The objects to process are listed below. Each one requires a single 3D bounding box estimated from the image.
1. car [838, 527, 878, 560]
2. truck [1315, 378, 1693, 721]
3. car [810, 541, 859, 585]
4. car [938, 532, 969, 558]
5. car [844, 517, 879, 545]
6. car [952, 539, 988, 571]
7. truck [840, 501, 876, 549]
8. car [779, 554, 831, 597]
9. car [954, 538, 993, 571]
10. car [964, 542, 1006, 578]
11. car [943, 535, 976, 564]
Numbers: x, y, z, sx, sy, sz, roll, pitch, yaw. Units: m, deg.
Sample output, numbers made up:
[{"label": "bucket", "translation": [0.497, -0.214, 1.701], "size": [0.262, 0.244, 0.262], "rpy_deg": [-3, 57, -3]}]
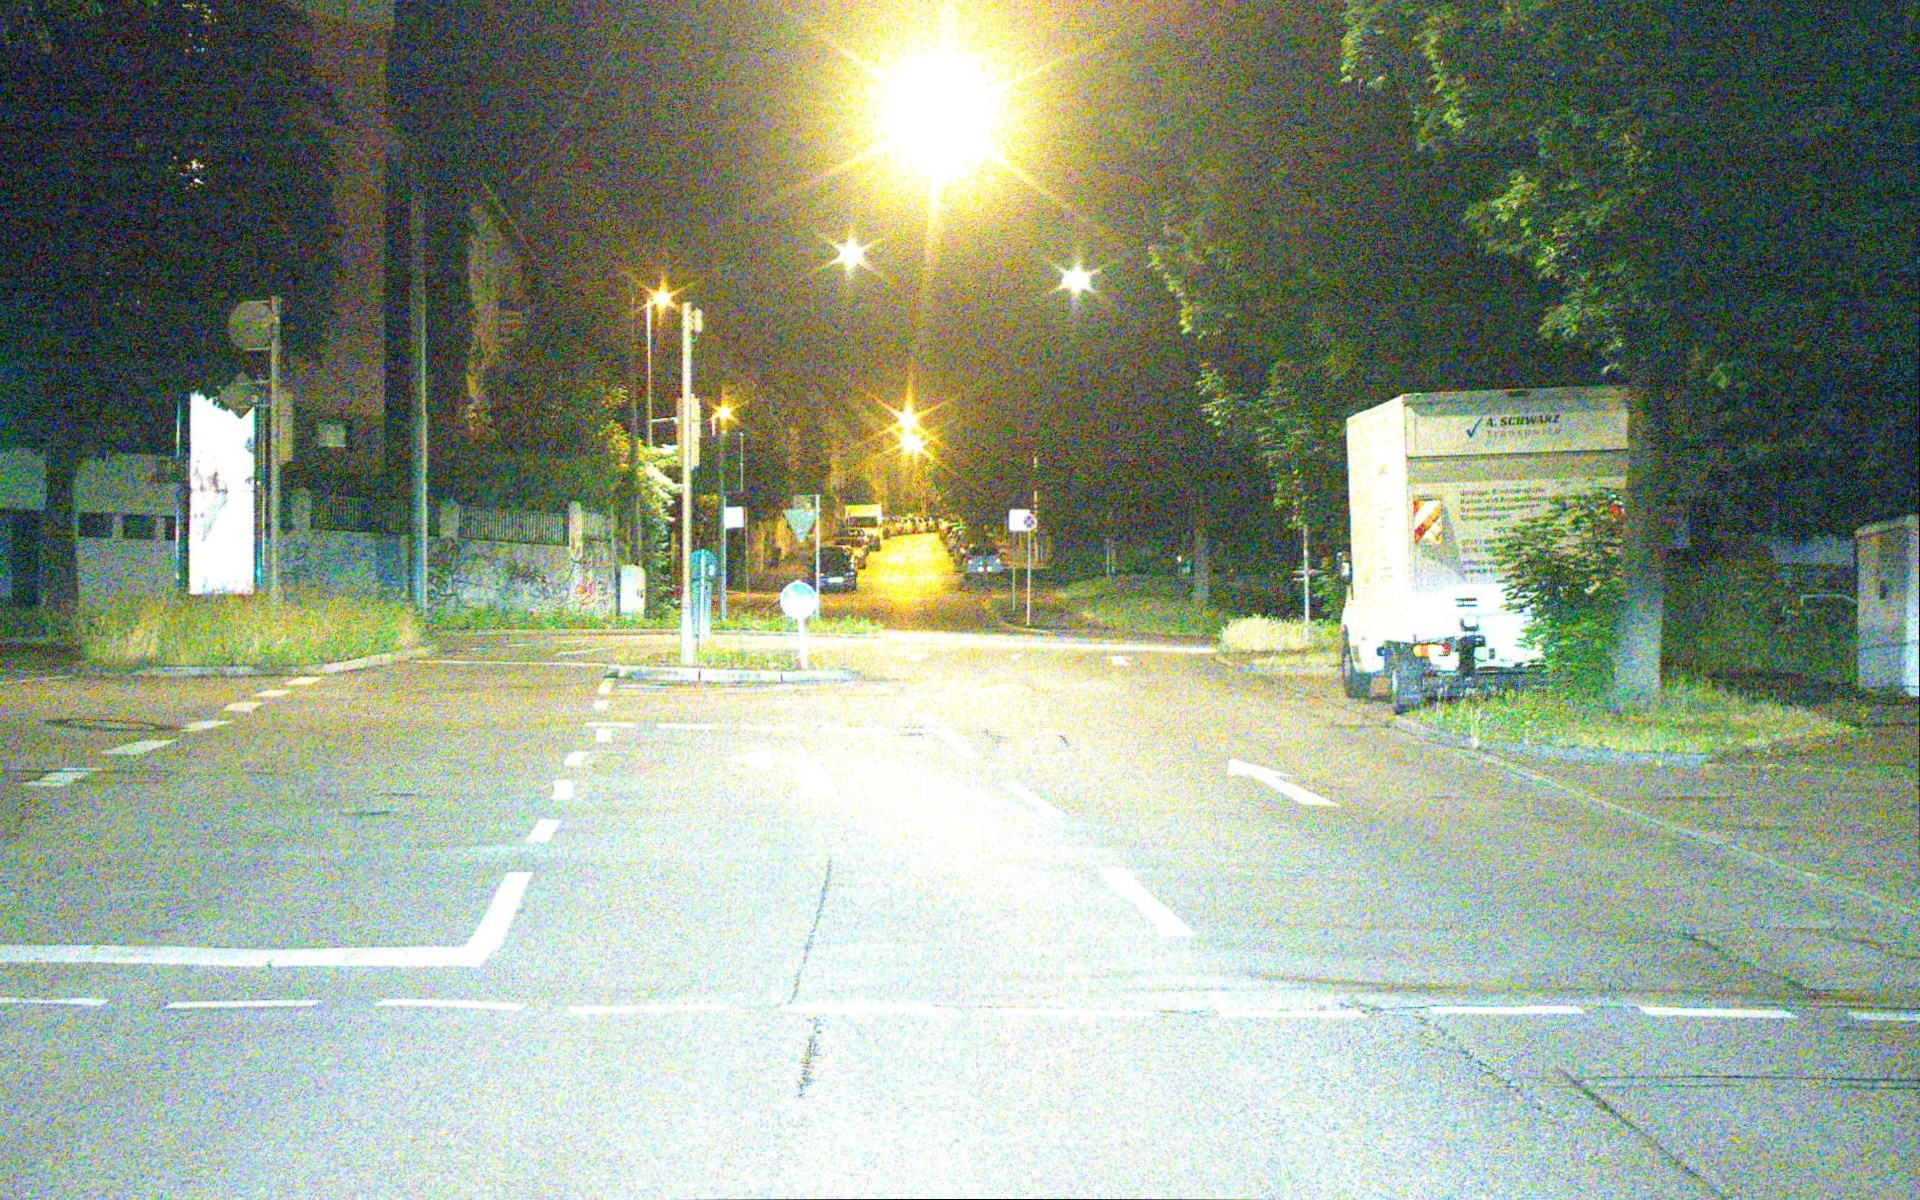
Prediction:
[{"label": "car", "translation": [-4.791, -2.619, 160.569], "size": [1.815, 1.486, 4.000], "rpy_deg": [1, 1, -2]}, {"label": "truck", "translation": [5.304, -0.507, 34.612], "size": [2.749, 3.100, 6.258], "rpy_deg": [1, 1, 0]}, {"label": "car", "translation": [-4.898, -1.464, 134.448], "size": [1.815, 1.678, 4.000], "rpy_deg": [1, 1, -1]}, {"label": "car", "translation": [-0.376, -3.058, 191.485], "size": [1.634, 1.447, 3.485], "rpy_deg": [1, 1, -1]}, {"label": "car", "translation": [-5.371, -3.741, 186.950], "size": [1.815, 1.486, 4.000], "rpy_deg": [1, 1, -2]}, {"label": "car", "translation": [0.452, -2.090, 159.279], "size": [1.634, 1.447, 3.485], "rpy_deg": [1, 1, -1]}, {"label": "truck", "translation": [-6.216, -4.548, 209.580], "size": [2.086, 2.838, 5.832], "rpy_deg": [1, 1, -2]}, {"label": "car", "translation": [-5.326, -0.855, 118.227], "size": [1.634, 1.447, 3.485], "rpy_deg": [1, 1, -1]}, {"label": "car", "translation": [0.588, -2.038, 153.094], "size": [1.634, 1.447, 3.485], "rpy_deg": [1, 1, -1]}, {"label": "car", "translation": [1.028, -1.680, 143.362], "size": [1.634, 1.447, 3.485], "rpy_deg": [1, 1, -1]}, {"label": "car", "translation": [-0.018, -2.626, 178.517], "size": [1.634, 1.447, 3.485], "rpy_deg": [1, 1, -1]}]
